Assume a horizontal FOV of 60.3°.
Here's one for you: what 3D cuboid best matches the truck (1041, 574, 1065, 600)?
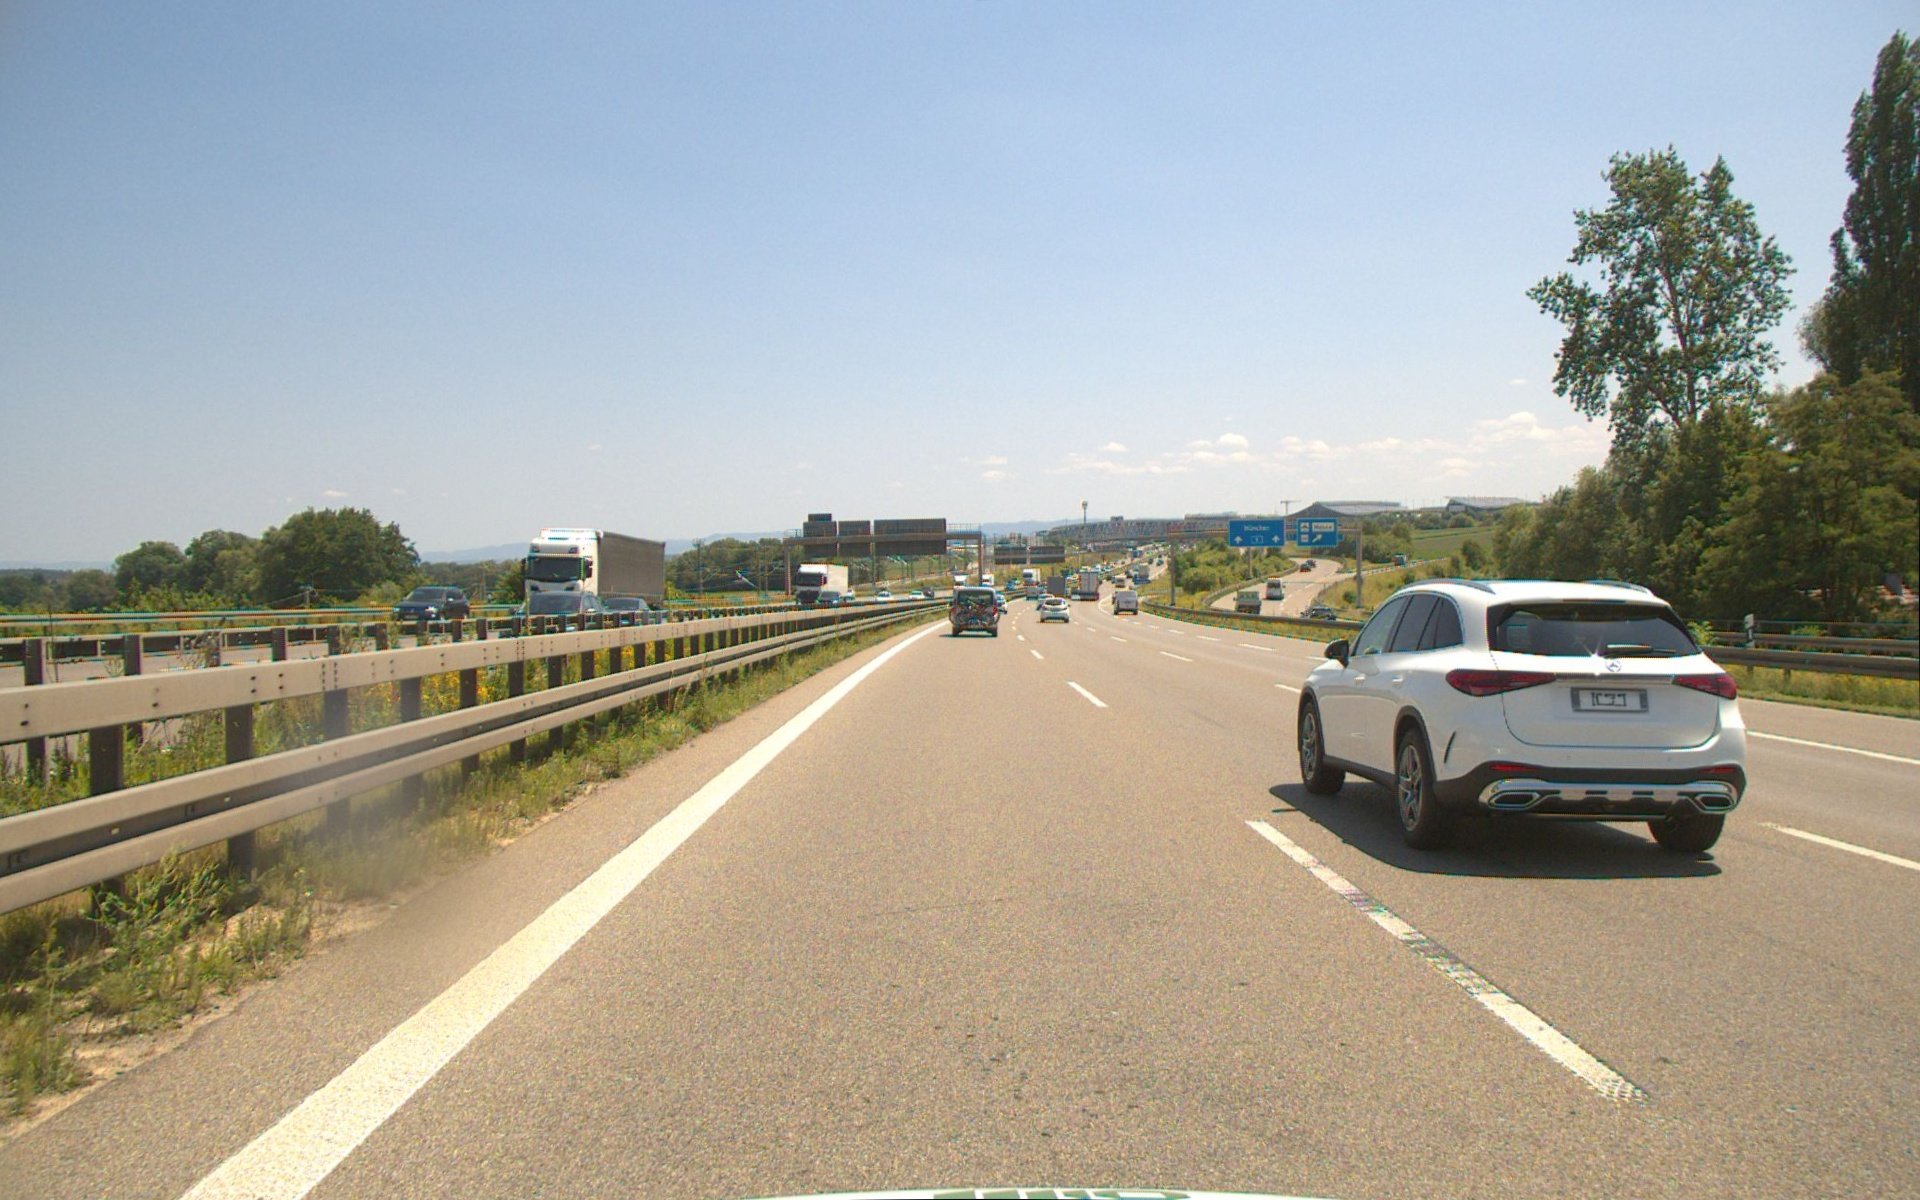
[{"bbox_3d":[11.931,-1.646,213.127,2.646,3.163,10.660,1,0,1],"label":"truck"}]

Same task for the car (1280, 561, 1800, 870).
[{"bbox_3d":[3.672,0.645,11.584,1.859,1.676,4.998,1,0,0],"label":"car"}]

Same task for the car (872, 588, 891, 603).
[{"bbox_3d":[-8.129,-0.424,171.093,1.705,1.515,4.008,1,0,1],"label":"car"}]

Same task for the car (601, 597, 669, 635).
[{"bbox_3d":[-12.431,0.577,63.427,1.671,1.384,4.498,1,0,0],"label":"car"}]

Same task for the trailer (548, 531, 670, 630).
[{"bbox_3d":[-16.142,-0.860,77.184,2.831,4.185,12.586,1,0,0],"label":"trailer"}]

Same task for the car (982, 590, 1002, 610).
[{"bbox_3d":[2.575,0.028,133.342,1.543,1.579,3.965,1,0,2],"label":"car"}]

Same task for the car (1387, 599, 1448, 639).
[{"bbox_3d":[23.185,0.938,83.995,1.899,1.957,4.179,1,0,0],"label":"car"}]

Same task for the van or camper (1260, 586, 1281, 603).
[{"bbox_3d":[38.173,-0.668,203.212,2.475,2.049,4.464,1,0,10],"label":"van or camper"}]

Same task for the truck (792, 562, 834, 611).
[{"bbox_3d":[-13.367,-1.183,150.579,2.972,4.314,6.686,1,0,2],"label":"truck"}]

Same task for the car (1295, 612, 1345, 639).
[{"bbox_3d":[22.609,1.585,103.972,1.955,1.624,3.996,1,0,-5],"label":"car"}]

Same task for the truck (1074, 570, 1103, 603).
[{"bbox_3d":[18.393,-1.940,235.825,3.954,4.336,11.767,0,2,5],"label":"truck"}]

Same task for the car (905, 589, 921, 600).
[{"bbox_3d":[-5.746,-0.671,204.653,1.623,1.428,4.760,1,0,2],"label":"car"}]

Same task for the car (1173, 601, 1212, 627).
[{"bbox_3d":[16.019,0.953,113.966,1.954,1.720,3.998,1,0,-3],"label":"car"}]

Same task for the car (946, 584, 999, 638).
[{"bbox_3d":[0.529,0.404,62.972,1.887,1.952,4.949,1,0,2],"label":"car"}]

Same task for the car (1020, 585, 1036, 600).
[{"bbox_3d":[9.531,-1.079,231.771,2.140,2.038,4.002,1,1,3],"label":"car"}]

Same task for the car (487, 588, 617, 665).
[{"bbox_3d":[-9.261,0.563,37.898,1.809,1.625,4.409,1,0,0],"label":"car"}]

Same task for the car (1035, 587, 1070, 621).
[{"bbox_3d":[5.544,0.248,99.634,1.887,1.952,4.517,1,0,0],"label":"car"}]

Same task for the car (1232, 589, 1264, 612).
[{"bbox_3d":[25.471,0.054,146.214,1.954,2.049,3.998,1,0,-3],"label":"car"}]

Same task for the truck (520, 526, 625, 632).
[{"bbox_3d":[-16.235,-0.857,69.686,2.822,4.189,6.384,1,0,0],"label":"truck"}]

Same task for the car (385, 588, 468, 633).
[{"bbox_3d":[-20.351,0.379,63.222,1.839,1.642,4.000,1,0,0],"label":"car"}]

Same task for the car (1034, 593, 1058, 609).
[{"bbox_3d":[8.098,0.084,155.658,1.940,1.499,4.003,0,0,7],"label":"car"}]

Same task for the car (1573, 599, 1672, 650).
[{"bbox_3d":[21.562,0.776,53.989,1.664,1.602,4.128,1,0,1],"label":"car"}]

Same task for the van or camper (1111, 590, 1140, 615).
[{"bbox_3d":[13.818,0.200,137.982,2.111,2.049,4.305,1,0,2],"label":"van or camper"}]

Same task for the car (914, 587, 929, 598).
[{"bbox_3d":[-5.701,-1.107,246.304,1.808,1.684,4.911,1,0,2],"label":"car"}]
